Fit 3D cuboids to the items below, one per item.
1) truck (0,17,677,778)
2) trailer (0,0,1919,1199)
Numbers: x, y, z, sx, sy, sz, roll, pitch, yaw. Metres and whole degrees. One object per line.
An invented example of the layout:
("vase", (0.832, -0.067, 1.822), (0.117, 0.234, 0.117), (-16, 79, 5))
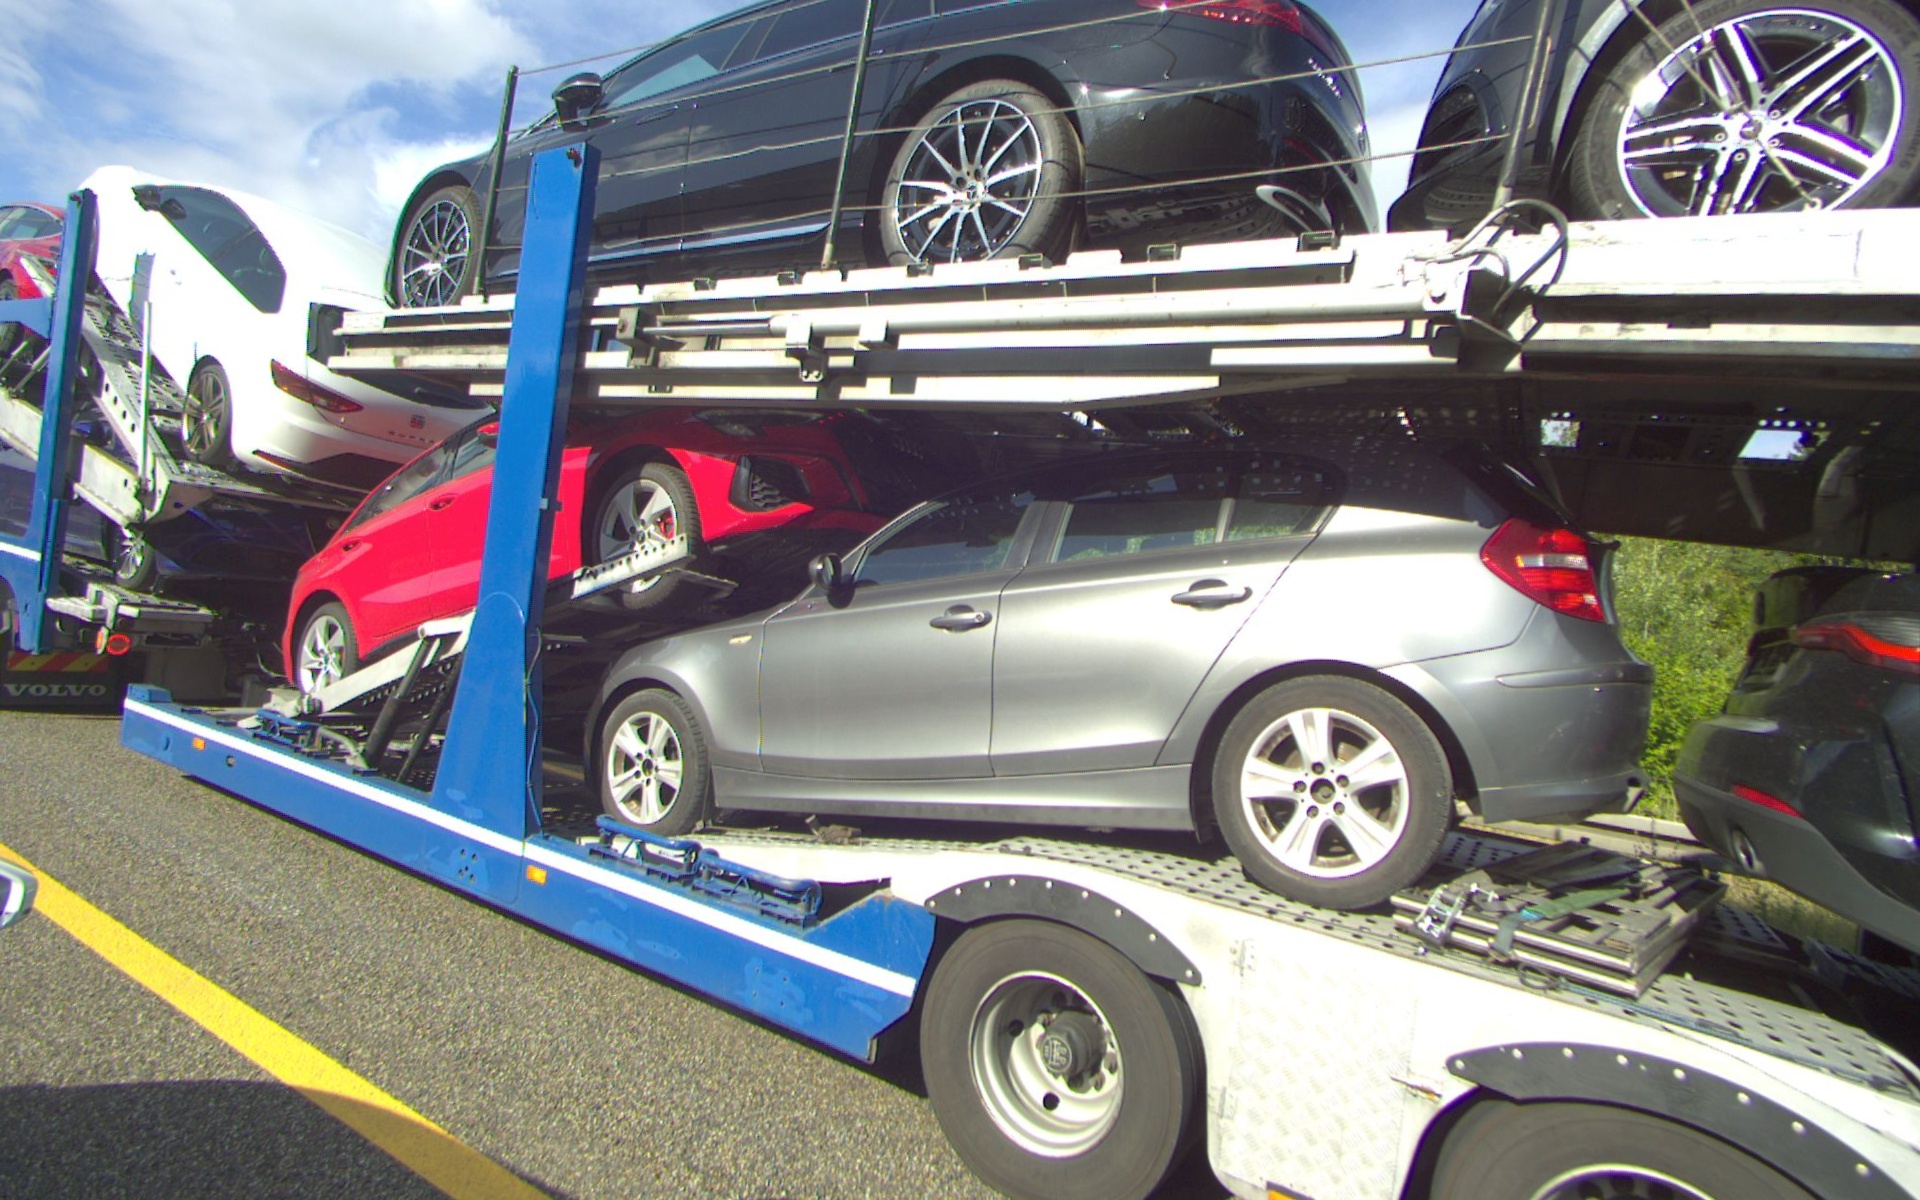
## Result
("truck", (-6.997, -1.285, 9.225), (7.819, 4.244, 3.769), (6, -2, 32))
("trailer", (-0.112, -0.602, 5.045), (15.959, 4.244, 3.734), (6, -2, 32))
